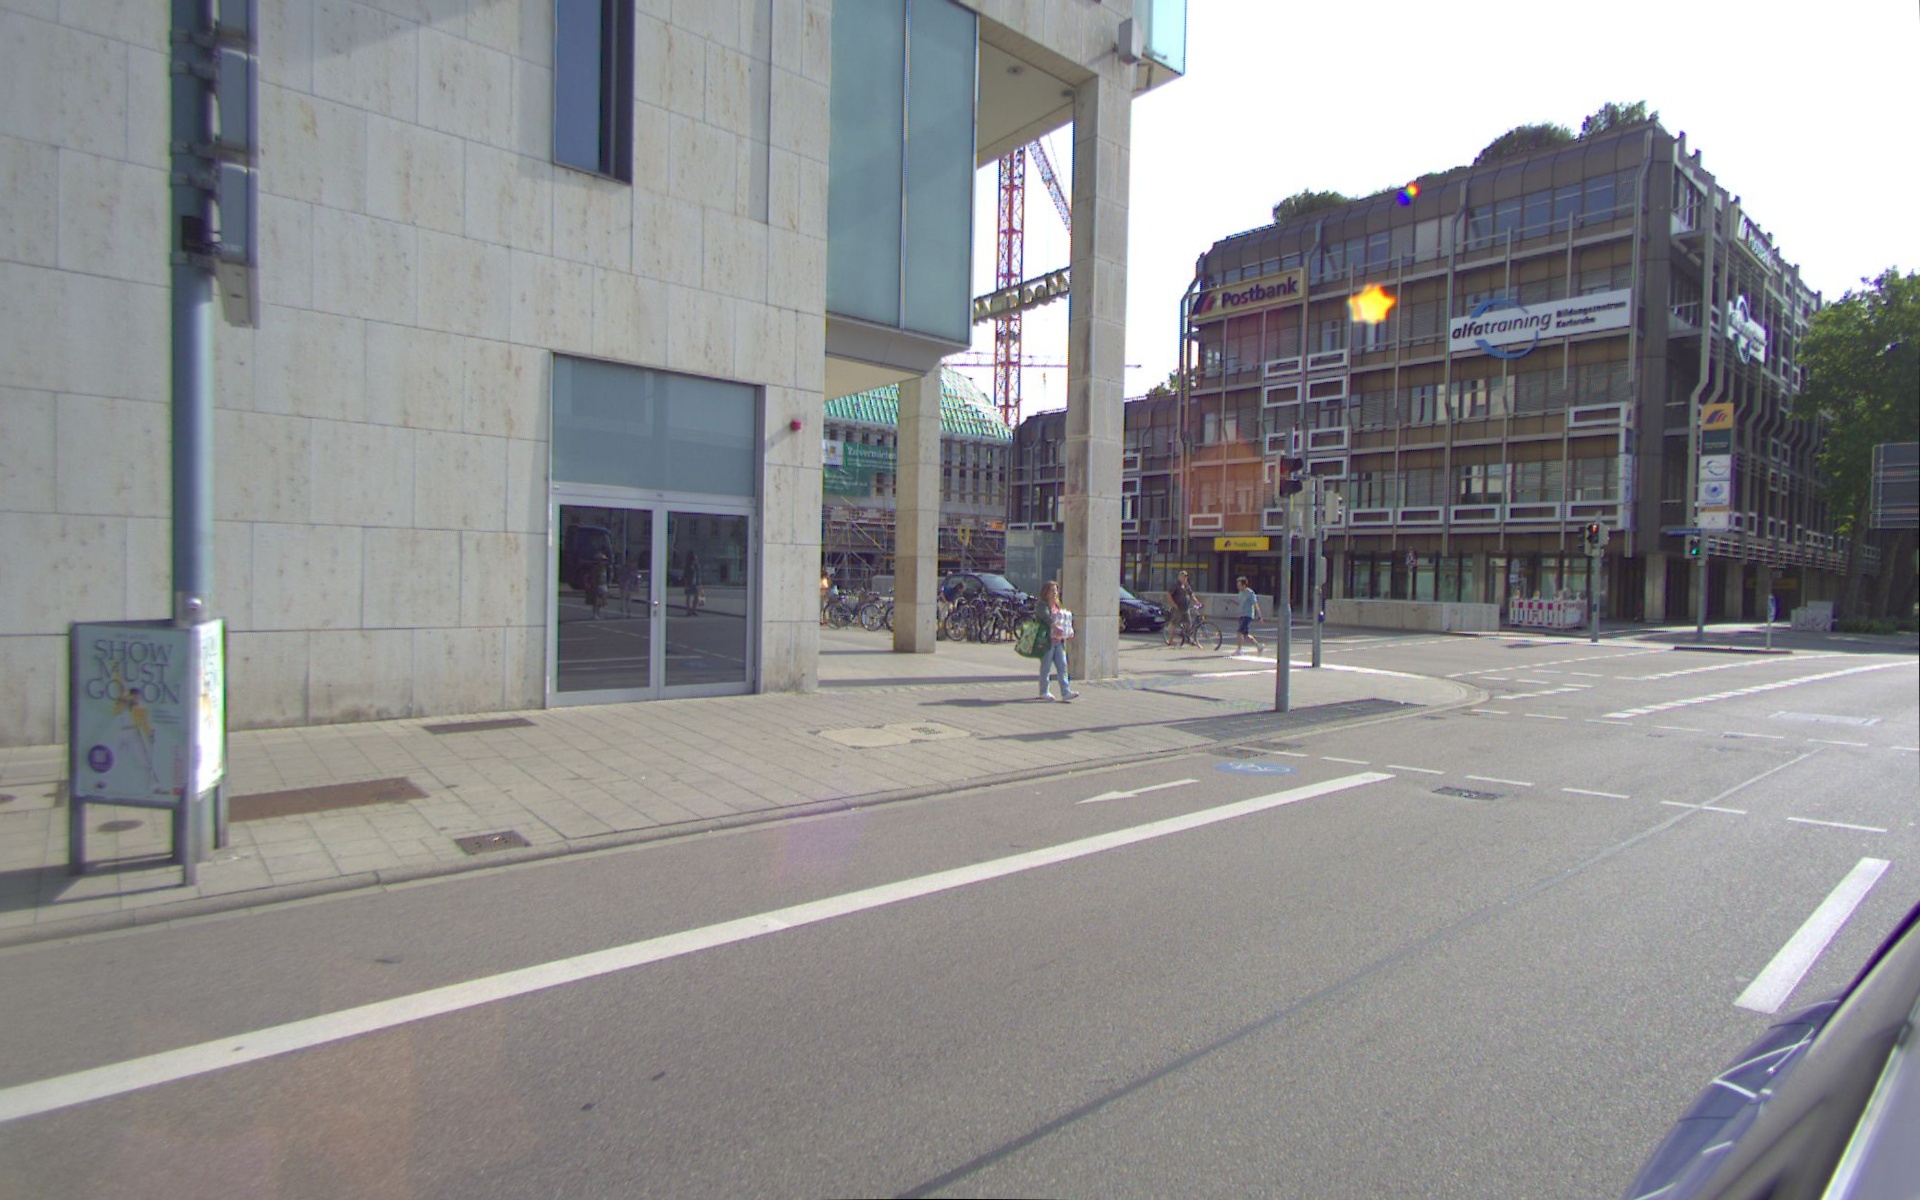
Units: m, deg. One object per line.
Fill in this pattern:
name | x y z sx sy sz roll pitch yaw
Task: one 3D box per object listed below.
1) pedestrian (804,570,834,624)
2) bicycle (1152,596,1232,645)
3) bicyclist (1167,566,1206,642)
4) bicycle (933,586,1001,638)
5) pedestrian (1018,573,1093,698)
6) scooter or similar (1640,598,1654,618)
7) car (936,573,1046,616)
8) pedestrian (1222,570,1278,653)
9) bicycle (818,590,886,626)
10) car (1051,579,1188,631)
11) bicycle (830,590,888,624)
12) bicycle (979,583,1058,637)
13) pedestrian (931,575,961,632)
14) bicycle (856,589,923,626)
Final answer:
pedestrian | -4.045 -0.098 29.070 0.595 1.504 0.734 1 1 19
bicycle | 5.368 0.461 23.538 0.601 1.030 1.805 1 1 -40
bicyclist | 5.285 0.085 23.640 0.572 1.759 0.636 1 1 -40
bicycle | 0.186 0.274 24.758 1.762 1.214 0.501 0 1 -42
pedestrian | 1.193 0.419 12.683 0.593 1.506 0.710 1 1 -37
scooter or similar | 30.078 0.338 44.311 0.942 0.853 0.279 0 1 -41
car | 1.019 -0.226 35.322 1.843 1.420 3.913 0 1 -36
pedestrian | 6.251 0.241 21.833 0.970 1.732 0.645 1 1 -33
bicycle | -2.966 0.209 27.855 1.819 0.968 0.460 0 1 -32
car | 4.734 0.096 30.472 1.842 1.383 3.905 -1 2 -36
bicycle | -2.915 0.200 29.325 1.637 0.968 0.460 0 1 -32
bicycle | 1.453 0.232 24.954 2.033 1.252 0.614 0 1 -39
pedestrian | -0.345 0.086 24.882 0.511 1.373 0.539 2 1 43
bicycle | -1.944 0.205 27.882 1.819 0.968 0.460 0 1 -32
